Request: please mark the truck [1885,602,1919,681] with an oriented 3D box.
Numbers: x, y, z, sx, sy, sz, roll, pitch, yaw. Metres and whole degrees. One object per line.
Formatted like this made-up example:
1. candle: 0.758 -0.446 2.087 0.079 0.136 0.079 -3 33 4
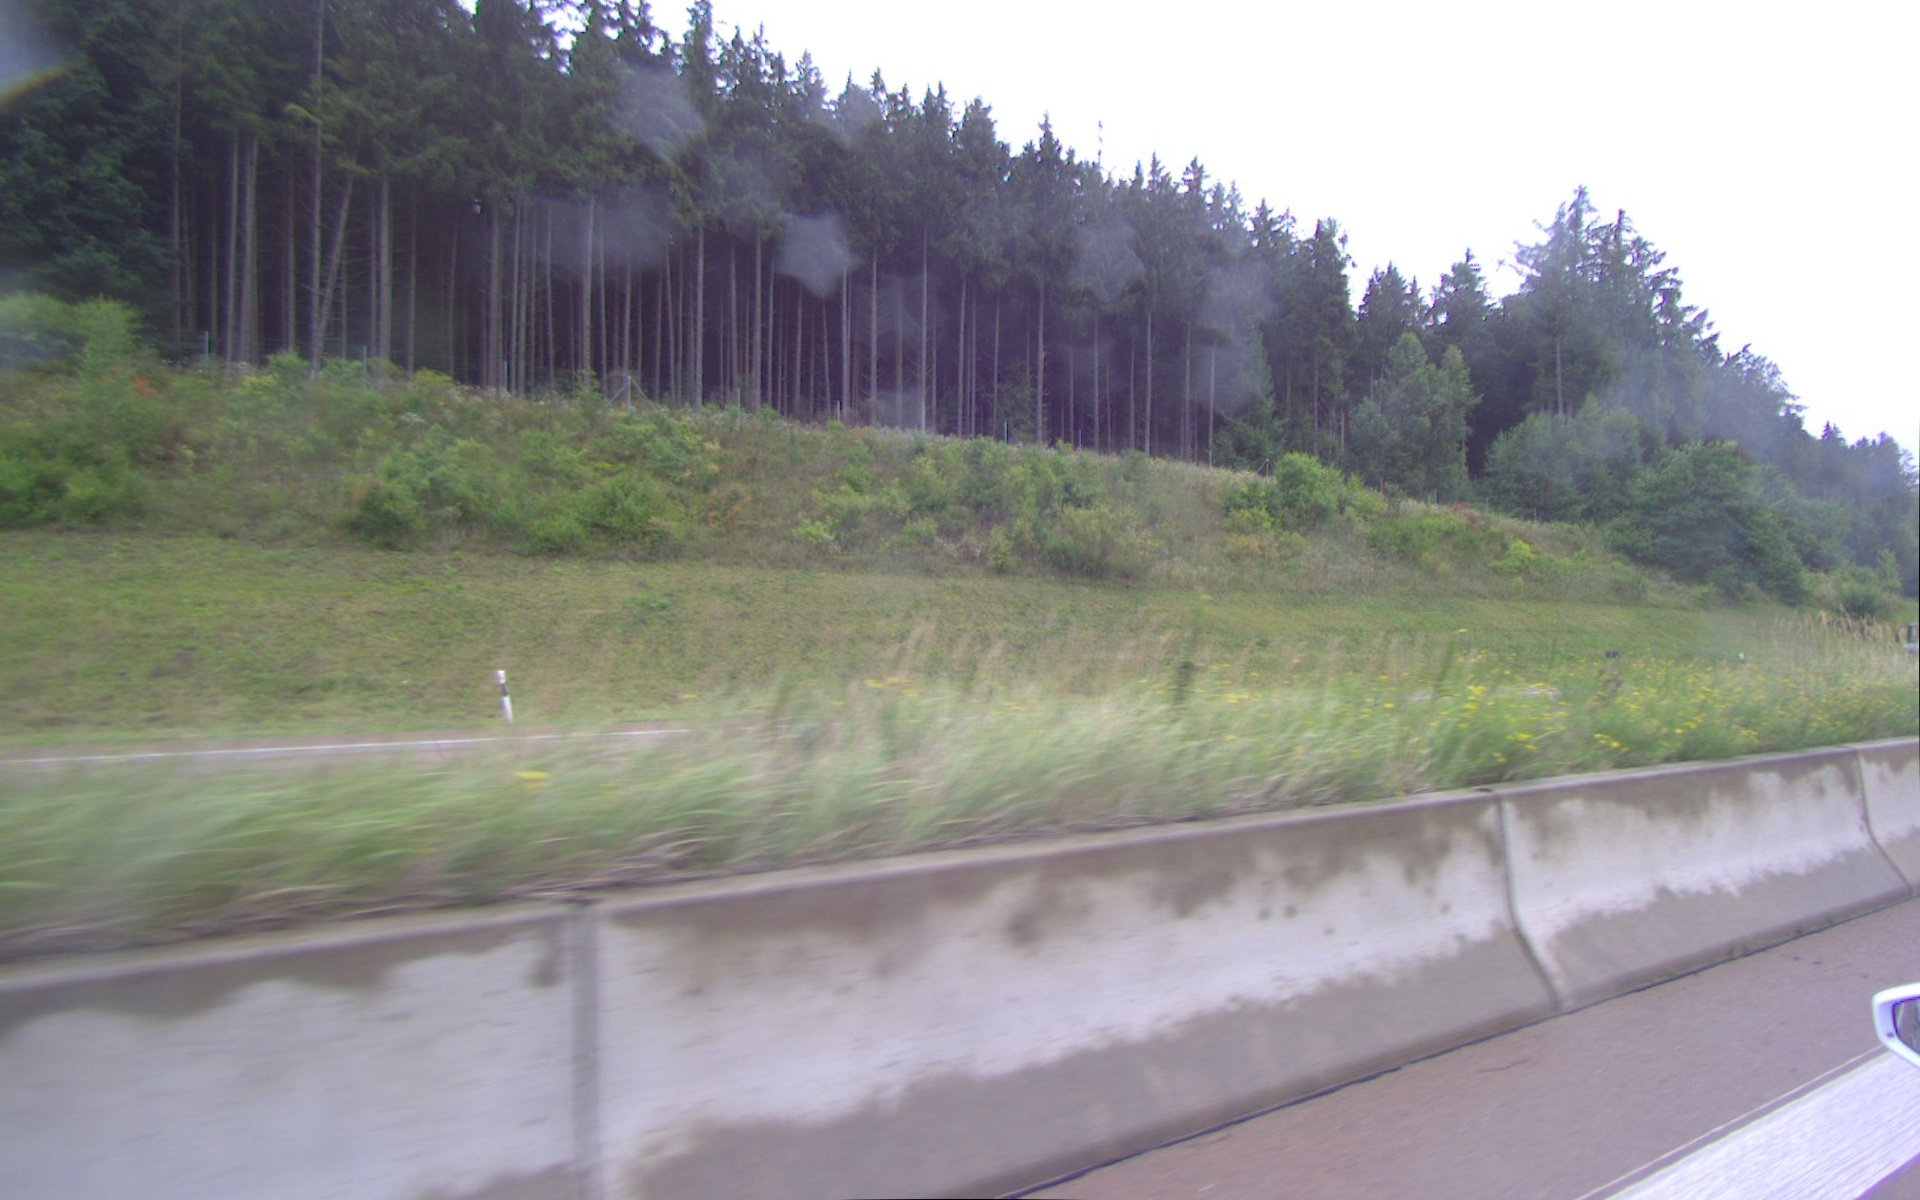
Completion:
1. truck: 42.323 1.829 42.552 6.420 3.214 2.849 2 0 -30
